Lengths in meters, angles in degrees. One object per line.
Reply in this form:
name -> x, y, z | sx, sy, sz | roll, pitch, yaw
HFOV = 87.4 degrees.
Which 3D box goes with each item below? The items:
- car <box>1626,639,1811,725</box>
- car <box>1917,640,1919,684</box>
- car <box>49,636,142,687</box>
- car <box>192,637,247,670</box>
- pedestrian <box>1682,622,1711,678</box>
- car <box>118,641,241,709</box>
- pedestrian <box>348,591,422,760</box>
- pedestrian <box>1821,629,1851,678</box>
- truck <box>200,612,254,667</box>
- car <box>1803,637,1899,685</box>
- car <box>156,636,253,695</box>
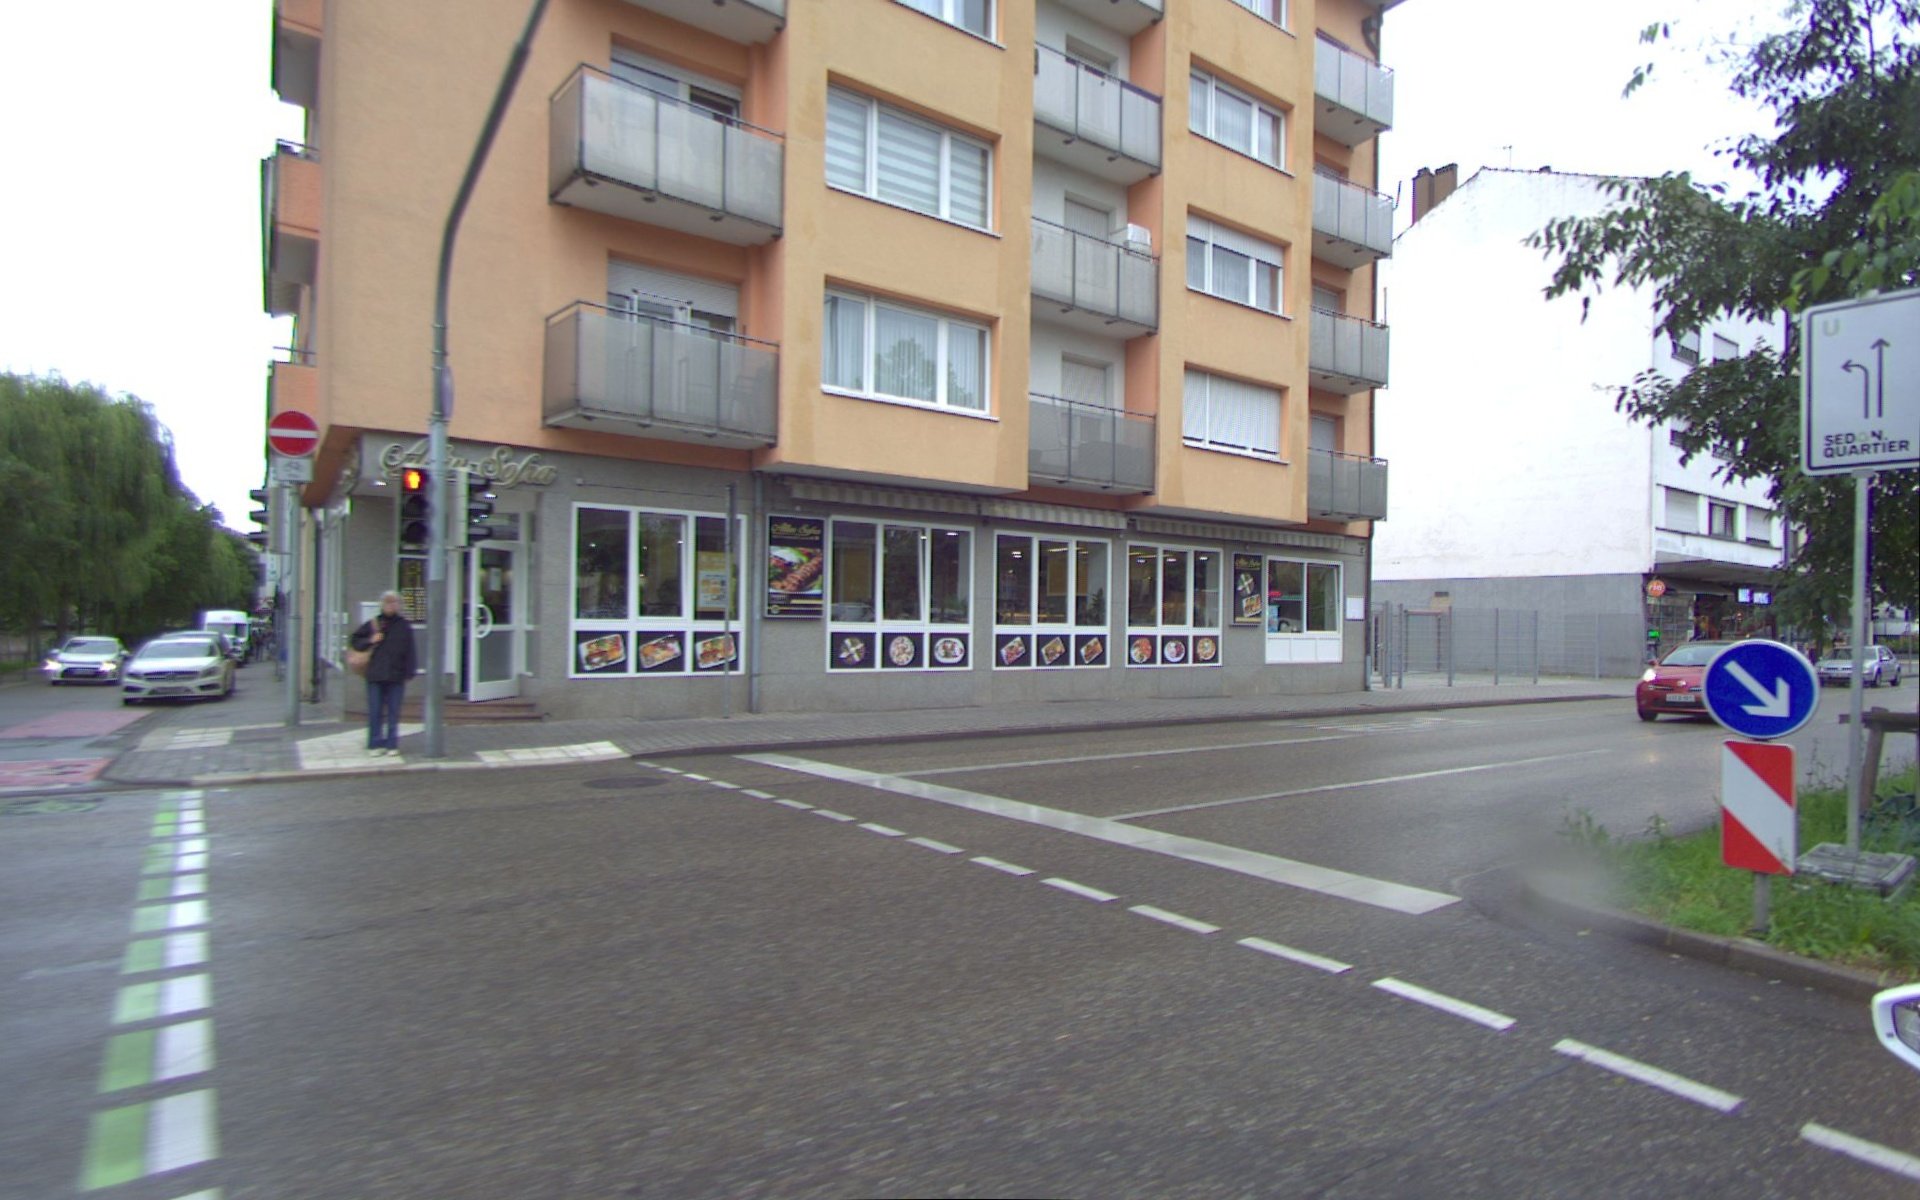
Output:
car -> 13.956, 1.431, 18.426 | 3.839, 1.418, 1.654 | 2, -2, -36
car -> 32.859, 2.029, 32.805 | 3.626, 1.420, 1.679 | 2, -1, -36
car -> -27.521, 1.925, 32.082 | 1.705, 1.406, 3.963 | 2, -1, -33
car -> -35.452, 2.536, 48.155 | 1.879, 1.406, 3.963 | 2, -1, -33
pedestrian -> 25.246, 1.714, 34.423 | 0.519, 1.886, 0.635 | 1, 0, -36
car -> -17.801, 1.647, 23.090 | 1.879, 1.406, 3.964 | 2, -3, -33
pedestrian -> -6.168, 0.793, 10.783 | 0.641, 1.750, 0.528 | 1, -1, -31
pedestrian -> 38.117, 2.311, 43.709 | 0.714, 2.040, 0.657 | 4, 0, 22
truck -> -38.285, 2.018, 52.557 | 2.085, 2.663, 4.613 | 2, -1, -35
car -> 31.164, 2.109, 35.103 | 3.626, 1.545, 1.765 | 2, -1, -36
car -> -21.030, 1.767, 28.116 | 1.879, 1.406, 3.963 | 2, -1, -33
